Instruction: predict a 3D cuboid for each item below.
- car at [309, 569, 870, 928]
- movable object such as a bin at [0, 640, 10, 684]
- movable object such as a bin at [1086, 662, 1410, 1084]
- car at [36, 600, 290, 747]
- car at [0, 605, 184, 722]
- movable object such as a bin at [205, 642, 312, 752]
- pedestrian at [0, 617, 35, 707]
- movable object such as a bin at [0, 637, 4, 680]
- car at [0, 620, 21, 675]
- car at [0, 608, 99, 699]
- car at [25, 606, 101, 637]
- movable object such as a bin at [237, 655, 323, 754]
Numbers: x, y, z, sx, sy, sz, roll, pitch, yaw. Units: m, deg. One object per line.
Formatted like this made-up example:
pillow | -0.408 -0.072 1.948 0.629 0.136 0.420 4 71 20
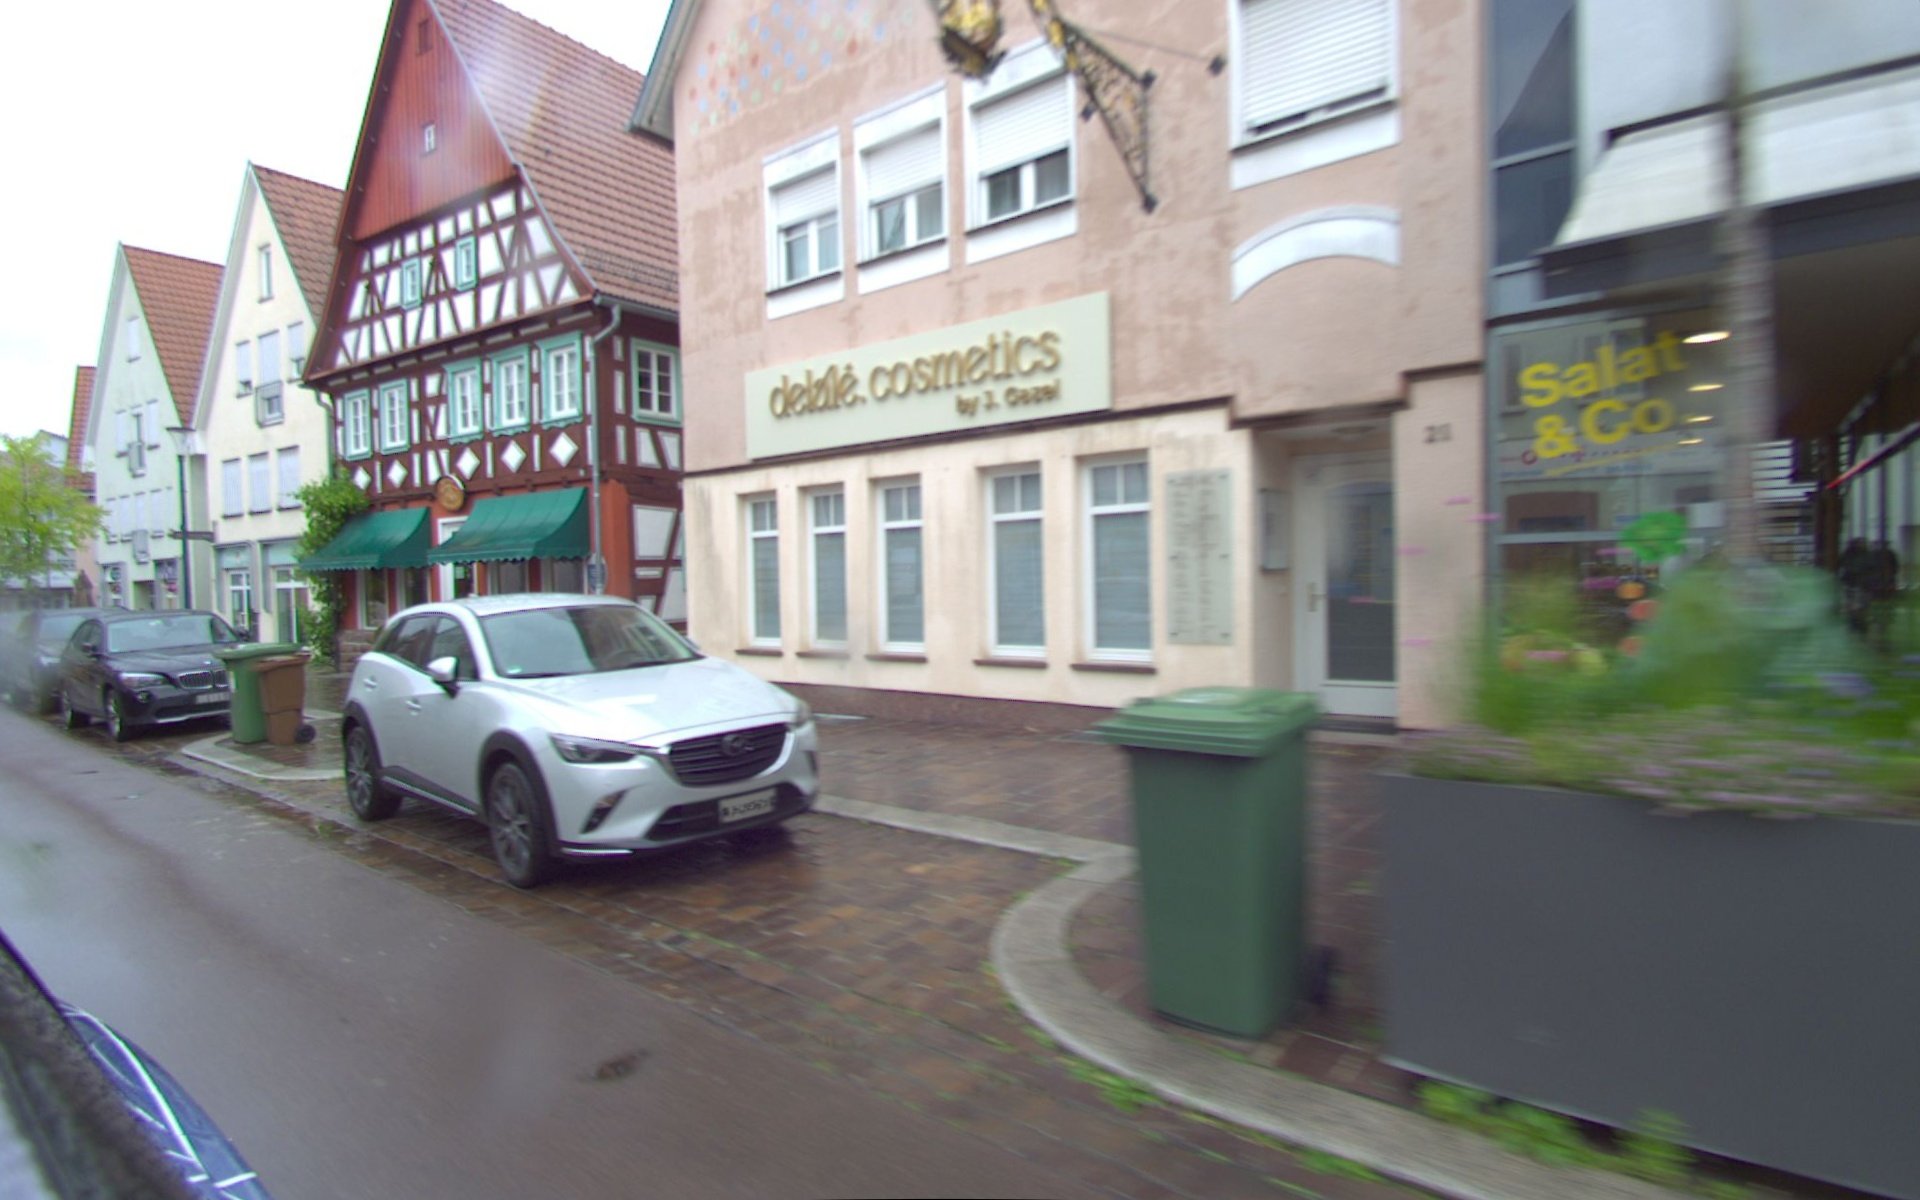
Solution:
car | -2.625 0.717 6.579 4.121 1.549 1.674 -2 2 43
movable object such as a bin | -23.616 1.530 24.681 0.534 1.054 0.546 0 2 37
movable object such as a bin | 0.957 0.793 3.336 0.693 1.093 0.778 -3 1 44
car | -10.736 0.909 13.522 4.286 1.549 1.762 -3 2 40
car | -15.180 0.994 17.493 4.639 1.678 1.806 -1 2 40
movable object such as a bin | -7.705 1.036 11.123 0.675 1.090 0.762 0 2 37
pedestrian | -18.836 1.208 19.636 0.790 1.694 1.161 0 3 39
movable object such as a bin | -25.352 1.536 26.191 0.743 1.091 0.739 0 3 39
car | -29.254 1.430 29.909 4.328 1.535 1.842 -2 2 43
car | -20.650 1.101 22.430 4.643 1.678 1.804 1 3 43
car | -56.910 1.309 64.297 1.763 1.651 4.453 -2 2 -15
movable object such as a bin | -7.224 1.096 10.755 0.498 0.945 0.603 0 3 37
